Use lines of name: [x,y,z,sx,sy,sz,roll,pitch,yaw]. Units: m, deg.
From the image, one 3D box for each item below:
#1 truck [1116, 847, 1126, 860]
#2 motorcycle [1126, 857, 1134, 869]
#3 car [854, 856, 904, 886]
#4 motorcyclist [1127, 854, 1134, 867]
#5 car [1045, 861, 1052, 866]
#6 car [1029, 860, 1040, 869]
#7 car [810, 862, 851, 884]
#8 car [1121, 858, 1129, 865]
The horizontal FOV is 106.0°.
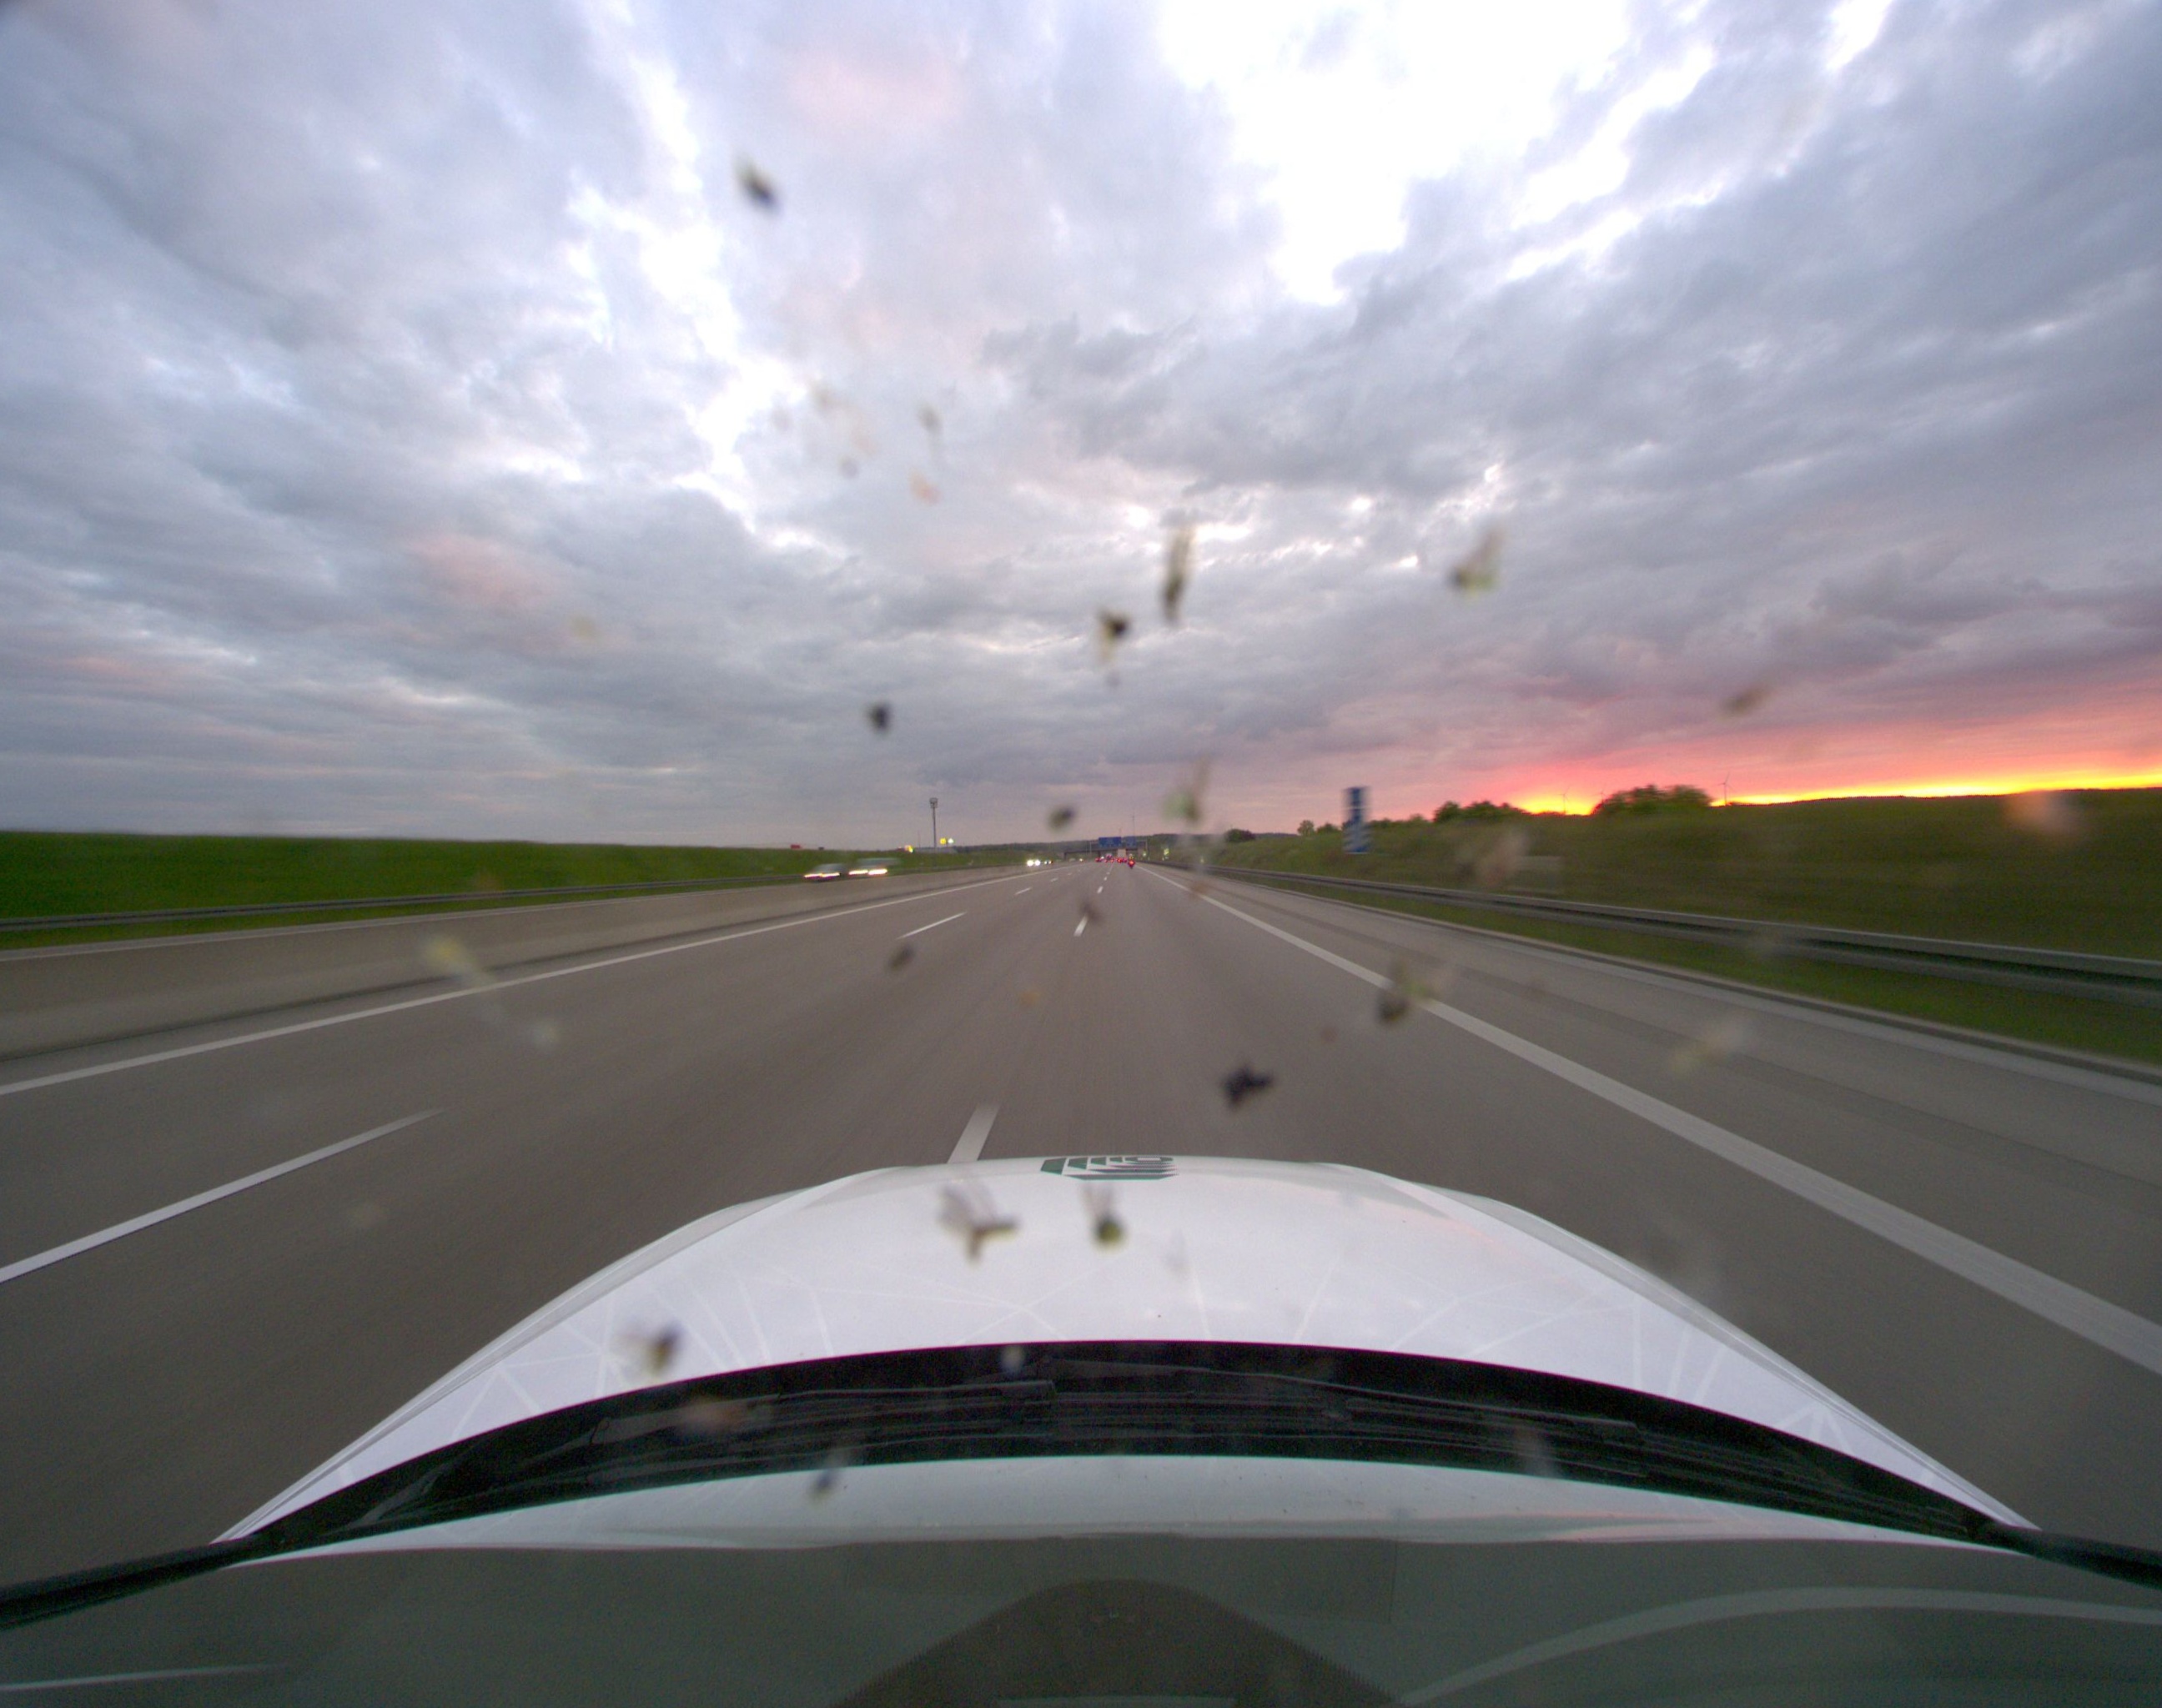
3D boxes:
truck: [12.744,-0.130,258.009,3.220,4.227,9.605,0,0,3]
motorcycle: [5.900,1.090,97.518,0.898,1.346,2.350,-1,0,3]
car: [-14.720,1.169,59.647,1.995,2.013,5.739,-2,0,2]
motorcyclist: [5.894,0.788,97.315,0.862,1.487,1.169,0,0,4]
car: [-10.041,2.940,253.818,1.732,1.392,4.344,-2,0,2]
car: [-10.240,2.329,178.967,2.092,1.810,5.021,-2,0,0]
car: [-19.007,1.403,62.025,1.624,1.517,4.428,-1,0,2]
car: [11.533,1.936,214.621,1.911,1.579,4.001,-2,0,2]
